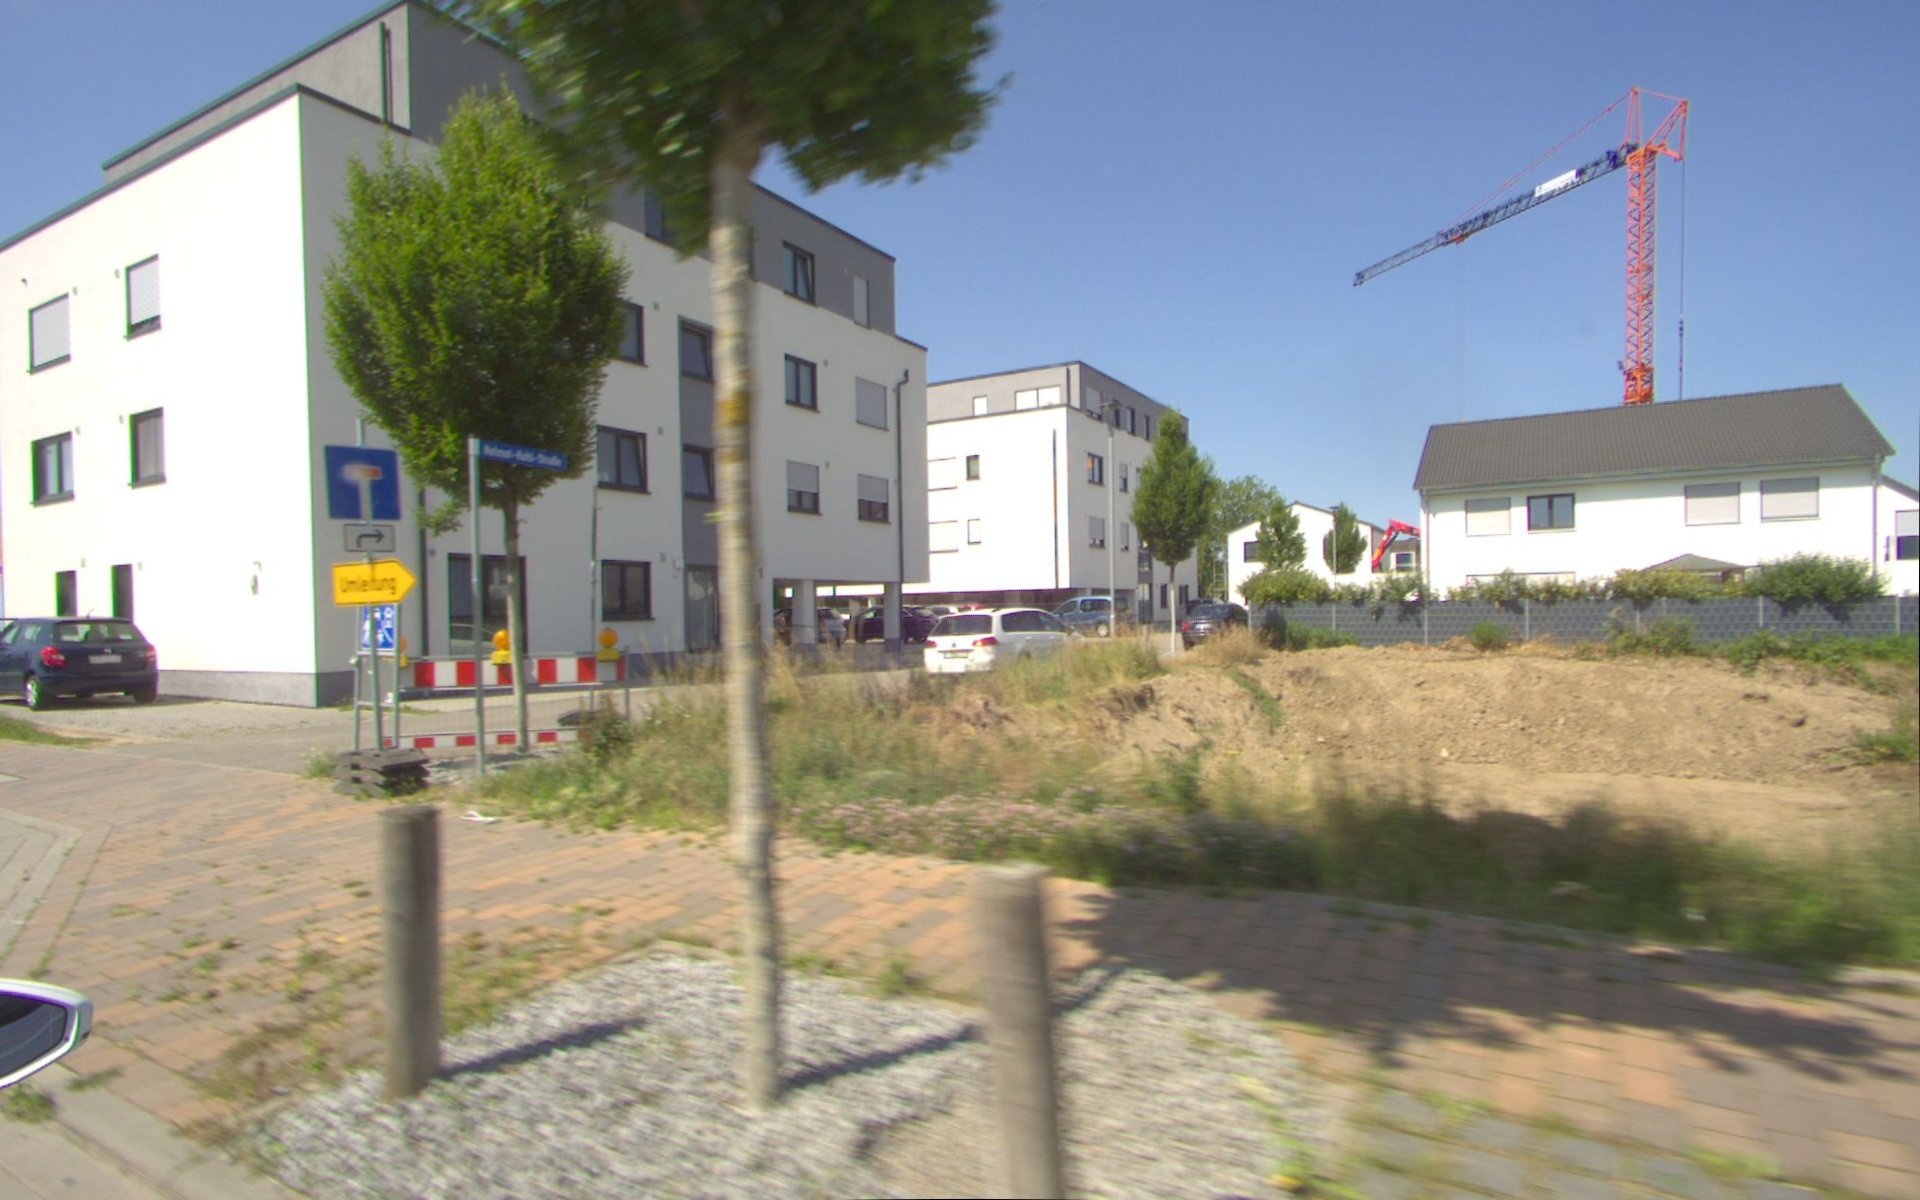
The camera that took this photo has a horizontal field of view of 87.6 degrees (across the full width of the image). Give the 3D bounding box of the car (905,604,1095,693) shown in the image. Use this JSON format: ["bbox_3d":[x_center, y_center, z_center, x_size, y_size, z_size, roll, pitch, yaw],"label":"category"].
[{"bbox_3d":[0.883,0.846,18.975,1.855,1.454,4.152,-2,-1,30],"label":"car"}]

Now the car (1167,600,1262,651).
[{"bbox_3d":[8.160,0.783,31.850,1.855,1.498,4.152,-2,-1,30],"label":"car"}]

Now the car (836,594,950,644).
[{"bbox_3d":[-2.645,0.766,39.311,4.112,1.833,1.873,-2,0,32],"label":"car"}]

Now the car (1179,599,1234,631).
[{"bbox_3d":[13.770,0.825,55.791,1.812,1.687,3.896,-2,-1,33],"label":"car"}]

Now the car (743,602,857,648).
[{"bbox_3d":[-5.679,0.892,35.522,3.626,1.522,1.873,-2,-1,32],"label":"car"}]

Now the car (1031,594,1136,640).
[{"bbox_3d":[5.320,0.746,43.329,4.116,1.833,1.871,-2,-1,35],"label":"car"}]

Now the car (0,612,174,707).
[{"bbox_3d":[-15.664,0.966,17.469,4.054,1.489,1.676,0,-1,30],"label":"car"}]

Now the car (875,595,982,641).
[{"bbox_3d":[-1.344,0.760,41.925,4.112,1.833,1.873,-2,0,32],"label":"car"}]

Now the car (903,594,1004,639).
[{"bbox_3d":[-0.307,0.743,44.360,4.112,1.833,1.873,-2,0,32],"label":"car"}]

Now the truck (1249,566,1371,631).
[{"bbox_3d":[19.814,-0.097,56.639,6.862,3.434,2.291,-1,-2,-27],"label":"truck"}]
